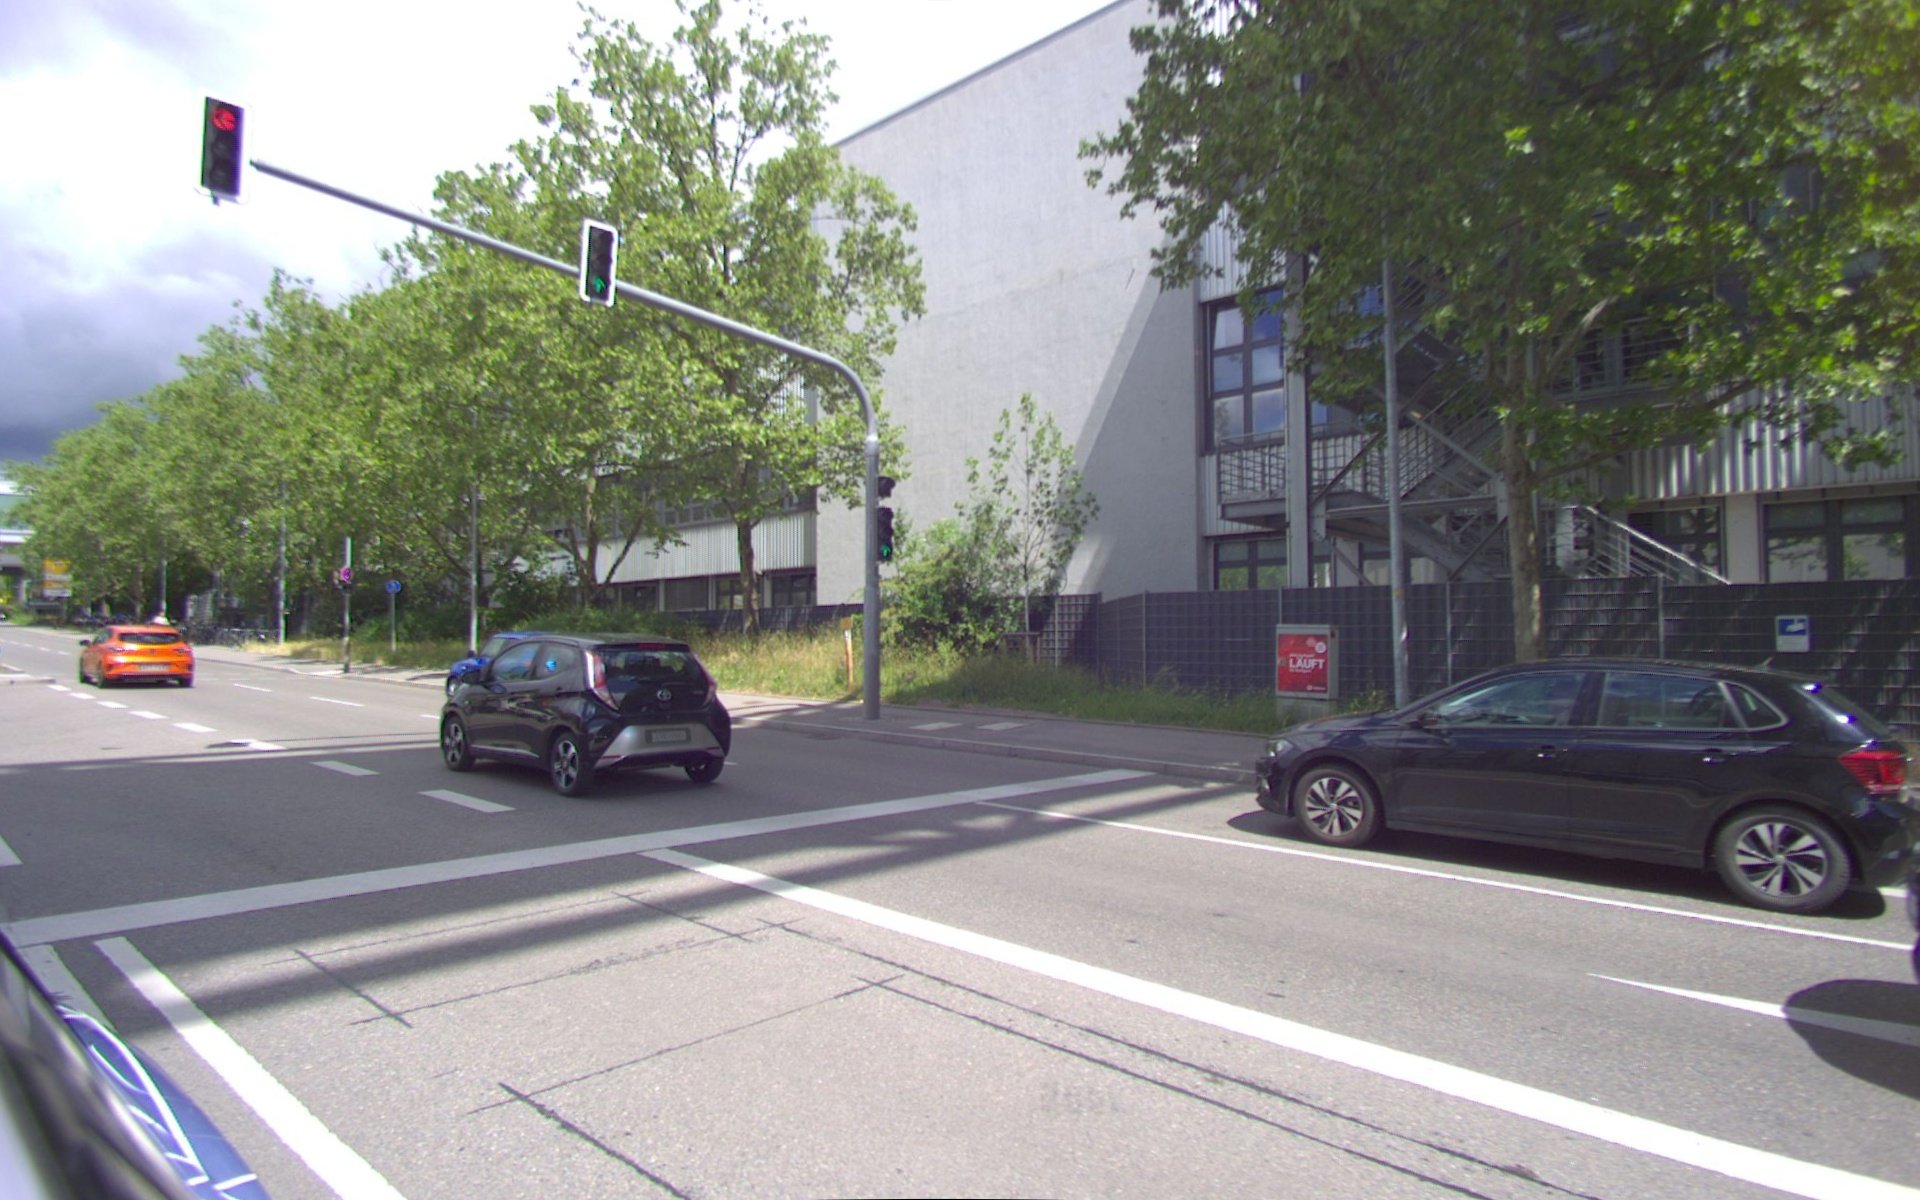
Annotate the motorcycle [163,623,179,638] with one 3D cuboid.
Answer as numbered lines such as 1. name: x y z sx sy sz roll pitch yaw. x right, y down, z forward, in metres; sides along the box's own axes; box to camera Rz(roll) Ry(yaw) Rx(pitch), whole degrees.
1. motorcycle: -59.609 2.287 76.439 2.590 1.044 0.591 -5 -3 44

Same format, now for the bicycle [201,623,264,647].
1. bicycle: -37.069 1.771 51.622 0.615 1.093 2.530 -1 0 39

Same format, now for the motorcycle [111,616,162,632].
1. motorcycle: -59.277 1.719 72.847 0.600 1.044 2.792 -5 -3 44

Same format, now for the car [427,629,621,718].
1. car: -7.879 1.248 18.178 3.819 1.440 1.675 -1 -3 41

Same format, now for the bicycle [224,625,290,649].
1. bicycle: -33.637 1.756 48.431 2.525 1.093 0.616 0 0 -43

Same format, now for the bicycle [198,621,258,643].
1. bicycle: -38.348 1.672 53.069 2.522 1.093 0.617 0 0 -36

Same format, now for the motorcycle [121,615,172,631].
1. motorcycle: -58.019 1.622 72.203 0.600 1.044 2.792 -5 -3 44

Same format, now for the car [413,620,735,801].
1. car: -4.028 0.993 10.314 3.612 1.516 1.541 -1 -4 42

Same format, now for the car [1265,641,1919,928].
1. car: 4.296 1.049 6.965 3.918 1.439 1.560 -1 -4 41

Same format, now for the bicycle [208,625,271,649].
1. bicycle: -35.900 1.815 50.458 0.614 1.093 2.536 -1 0 33

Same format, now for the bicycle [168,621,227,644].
1. bicycle: -41.813 1.744 55.518 0.615 1.187 2.529 -1 0 42

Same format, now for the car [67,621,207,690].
1. car: -19.595 1.288 24.050 3.901 1.465 1.865 -1 -3 41

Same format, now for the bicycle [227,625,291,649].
1. bicycle: -34.135 1.797 49.293 2.524 1.093 0.616 0 0 -42

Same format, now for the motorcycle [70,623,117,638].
1. motorcycle: -68.207 2.389 79.693 0.600 1.044 2.792 -5 -3 44

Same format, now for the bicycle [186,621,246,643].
1. bicycle: -39.359 1.700 53.560 2.525 1.093 0.616 0 0 -43

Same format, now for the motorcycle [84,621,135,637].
1. motorcycle: -62.388 2.111 74.276 0.600 1.044 2.792 -5 -3 44

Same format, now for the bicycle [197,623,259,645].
1. bicycle: -37.779 1.744 52.240 0.628 1.093 2.527 -1 0 44

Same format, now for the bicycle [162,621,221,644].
1. bicycle: -42.620 1.784 56.155 0.615 1.187 2.529 -1 0 42

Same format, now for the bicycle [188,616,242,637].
1. bicycle: -40.766 1.451 55.414 2.376 1.093 0.617 0 0 -39

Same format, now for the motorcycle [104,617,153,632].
1. motorcycle: -60.942 1.802 74.196 2.790 1.044 0.601 0 -3 -43

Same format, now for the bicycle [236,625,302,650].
1. bicycle: -32.600 1.776 47.765 2.525 1.093 0.616 0 0 -43

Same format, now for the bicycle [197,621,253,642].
1. bicycle: -39.636 1.678 54.578 0.615 1.093 2.382 -1 0 40

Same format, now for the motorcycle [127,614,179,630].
1. motorcycle: -56.516 1.511 70.884 0.600 1.044 2.792 -5 -3 44

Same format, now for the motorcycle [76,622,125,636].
1. motorcycle: -65.831 2.213 77.529 0.600 1.044 2.792 -5 -3 44
